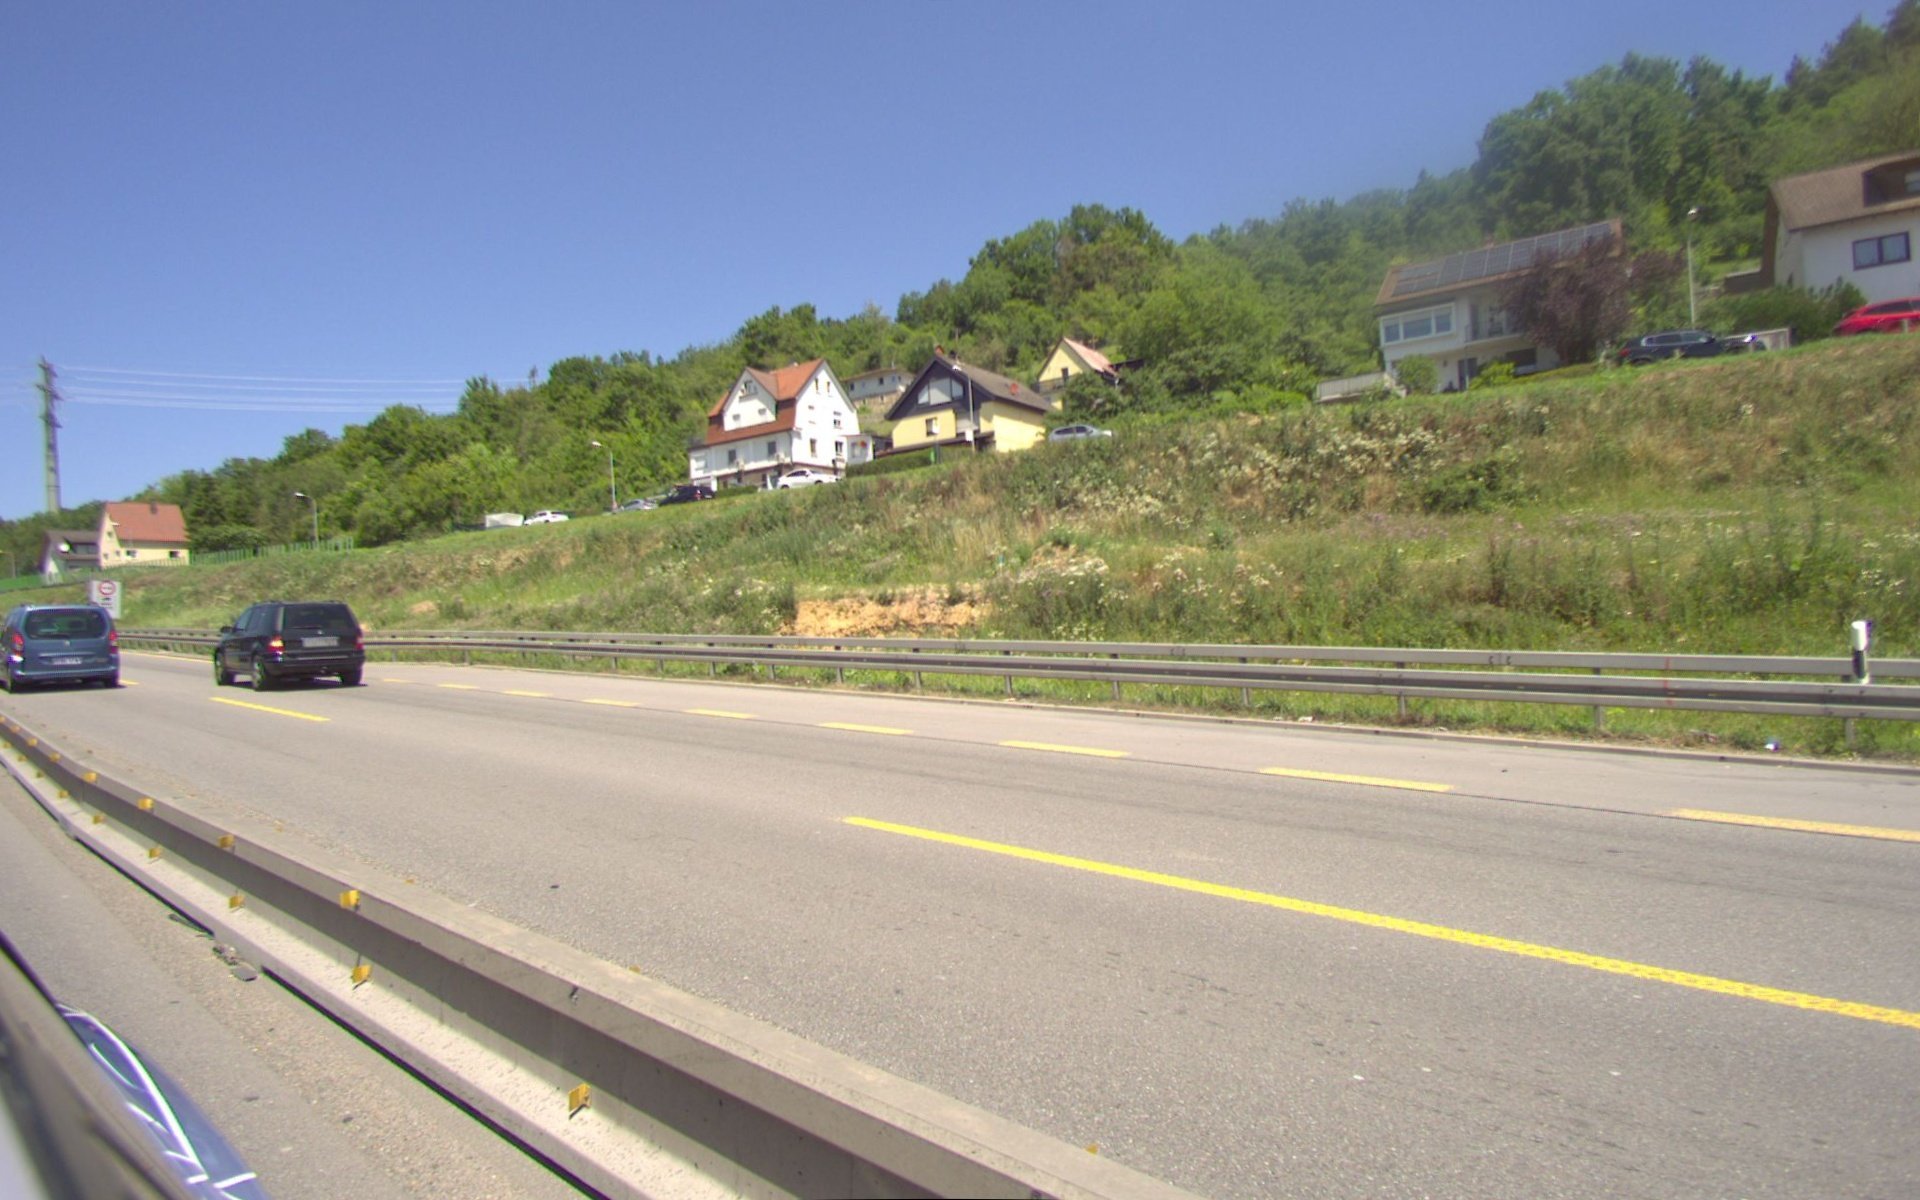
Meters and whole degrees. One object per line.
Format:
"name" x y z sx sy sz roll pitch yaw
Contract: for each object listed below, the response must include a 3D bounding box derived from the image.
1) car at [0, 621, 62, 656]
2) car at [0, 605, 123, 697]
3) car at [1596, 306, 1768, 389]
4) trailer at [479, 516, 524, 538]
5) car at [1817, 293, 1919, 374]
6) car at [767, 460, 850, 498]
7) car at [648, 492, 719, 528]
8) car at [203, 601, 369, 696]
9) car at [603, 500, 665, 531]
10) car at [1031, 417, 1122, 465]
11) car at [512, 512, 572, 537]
"car" -42.957 1.743 46.618 4.596 1.508 1.785 -1 -1 40
"car" -19.922 1.041 22.053 4.879 1.791 1.827 -1 -1 41
"car" 25.051 -8.714 35.330 4.752 1.807 2.160 0 1 35
"trailer" -36.326 -5.744 80.149 3.026 1.527 1.888 0 0 31
"car" 30.839 -8.722 32.619 4.795 1.807 2.325 0 1 38
"car" -9.280 -7.333 61.836 5.000 1.807 1.977 0 1 35
"car" -18.790 -6.075 68.774 4.963 2.023 2.052 0 1 36
"car" -14.198 0.960 21.229 4.494 1.779 1.809 -1 -1 41
"car" -23.076 -5.941 71.590 4.421 1.886 1.976 0 1 36
"car" 5.726 -7.789 49.857 3.990 1.807 1.977 0 1 35
"car" -31.922 -5.748 77.323 4.538 1.668 1.979 0 0 32
